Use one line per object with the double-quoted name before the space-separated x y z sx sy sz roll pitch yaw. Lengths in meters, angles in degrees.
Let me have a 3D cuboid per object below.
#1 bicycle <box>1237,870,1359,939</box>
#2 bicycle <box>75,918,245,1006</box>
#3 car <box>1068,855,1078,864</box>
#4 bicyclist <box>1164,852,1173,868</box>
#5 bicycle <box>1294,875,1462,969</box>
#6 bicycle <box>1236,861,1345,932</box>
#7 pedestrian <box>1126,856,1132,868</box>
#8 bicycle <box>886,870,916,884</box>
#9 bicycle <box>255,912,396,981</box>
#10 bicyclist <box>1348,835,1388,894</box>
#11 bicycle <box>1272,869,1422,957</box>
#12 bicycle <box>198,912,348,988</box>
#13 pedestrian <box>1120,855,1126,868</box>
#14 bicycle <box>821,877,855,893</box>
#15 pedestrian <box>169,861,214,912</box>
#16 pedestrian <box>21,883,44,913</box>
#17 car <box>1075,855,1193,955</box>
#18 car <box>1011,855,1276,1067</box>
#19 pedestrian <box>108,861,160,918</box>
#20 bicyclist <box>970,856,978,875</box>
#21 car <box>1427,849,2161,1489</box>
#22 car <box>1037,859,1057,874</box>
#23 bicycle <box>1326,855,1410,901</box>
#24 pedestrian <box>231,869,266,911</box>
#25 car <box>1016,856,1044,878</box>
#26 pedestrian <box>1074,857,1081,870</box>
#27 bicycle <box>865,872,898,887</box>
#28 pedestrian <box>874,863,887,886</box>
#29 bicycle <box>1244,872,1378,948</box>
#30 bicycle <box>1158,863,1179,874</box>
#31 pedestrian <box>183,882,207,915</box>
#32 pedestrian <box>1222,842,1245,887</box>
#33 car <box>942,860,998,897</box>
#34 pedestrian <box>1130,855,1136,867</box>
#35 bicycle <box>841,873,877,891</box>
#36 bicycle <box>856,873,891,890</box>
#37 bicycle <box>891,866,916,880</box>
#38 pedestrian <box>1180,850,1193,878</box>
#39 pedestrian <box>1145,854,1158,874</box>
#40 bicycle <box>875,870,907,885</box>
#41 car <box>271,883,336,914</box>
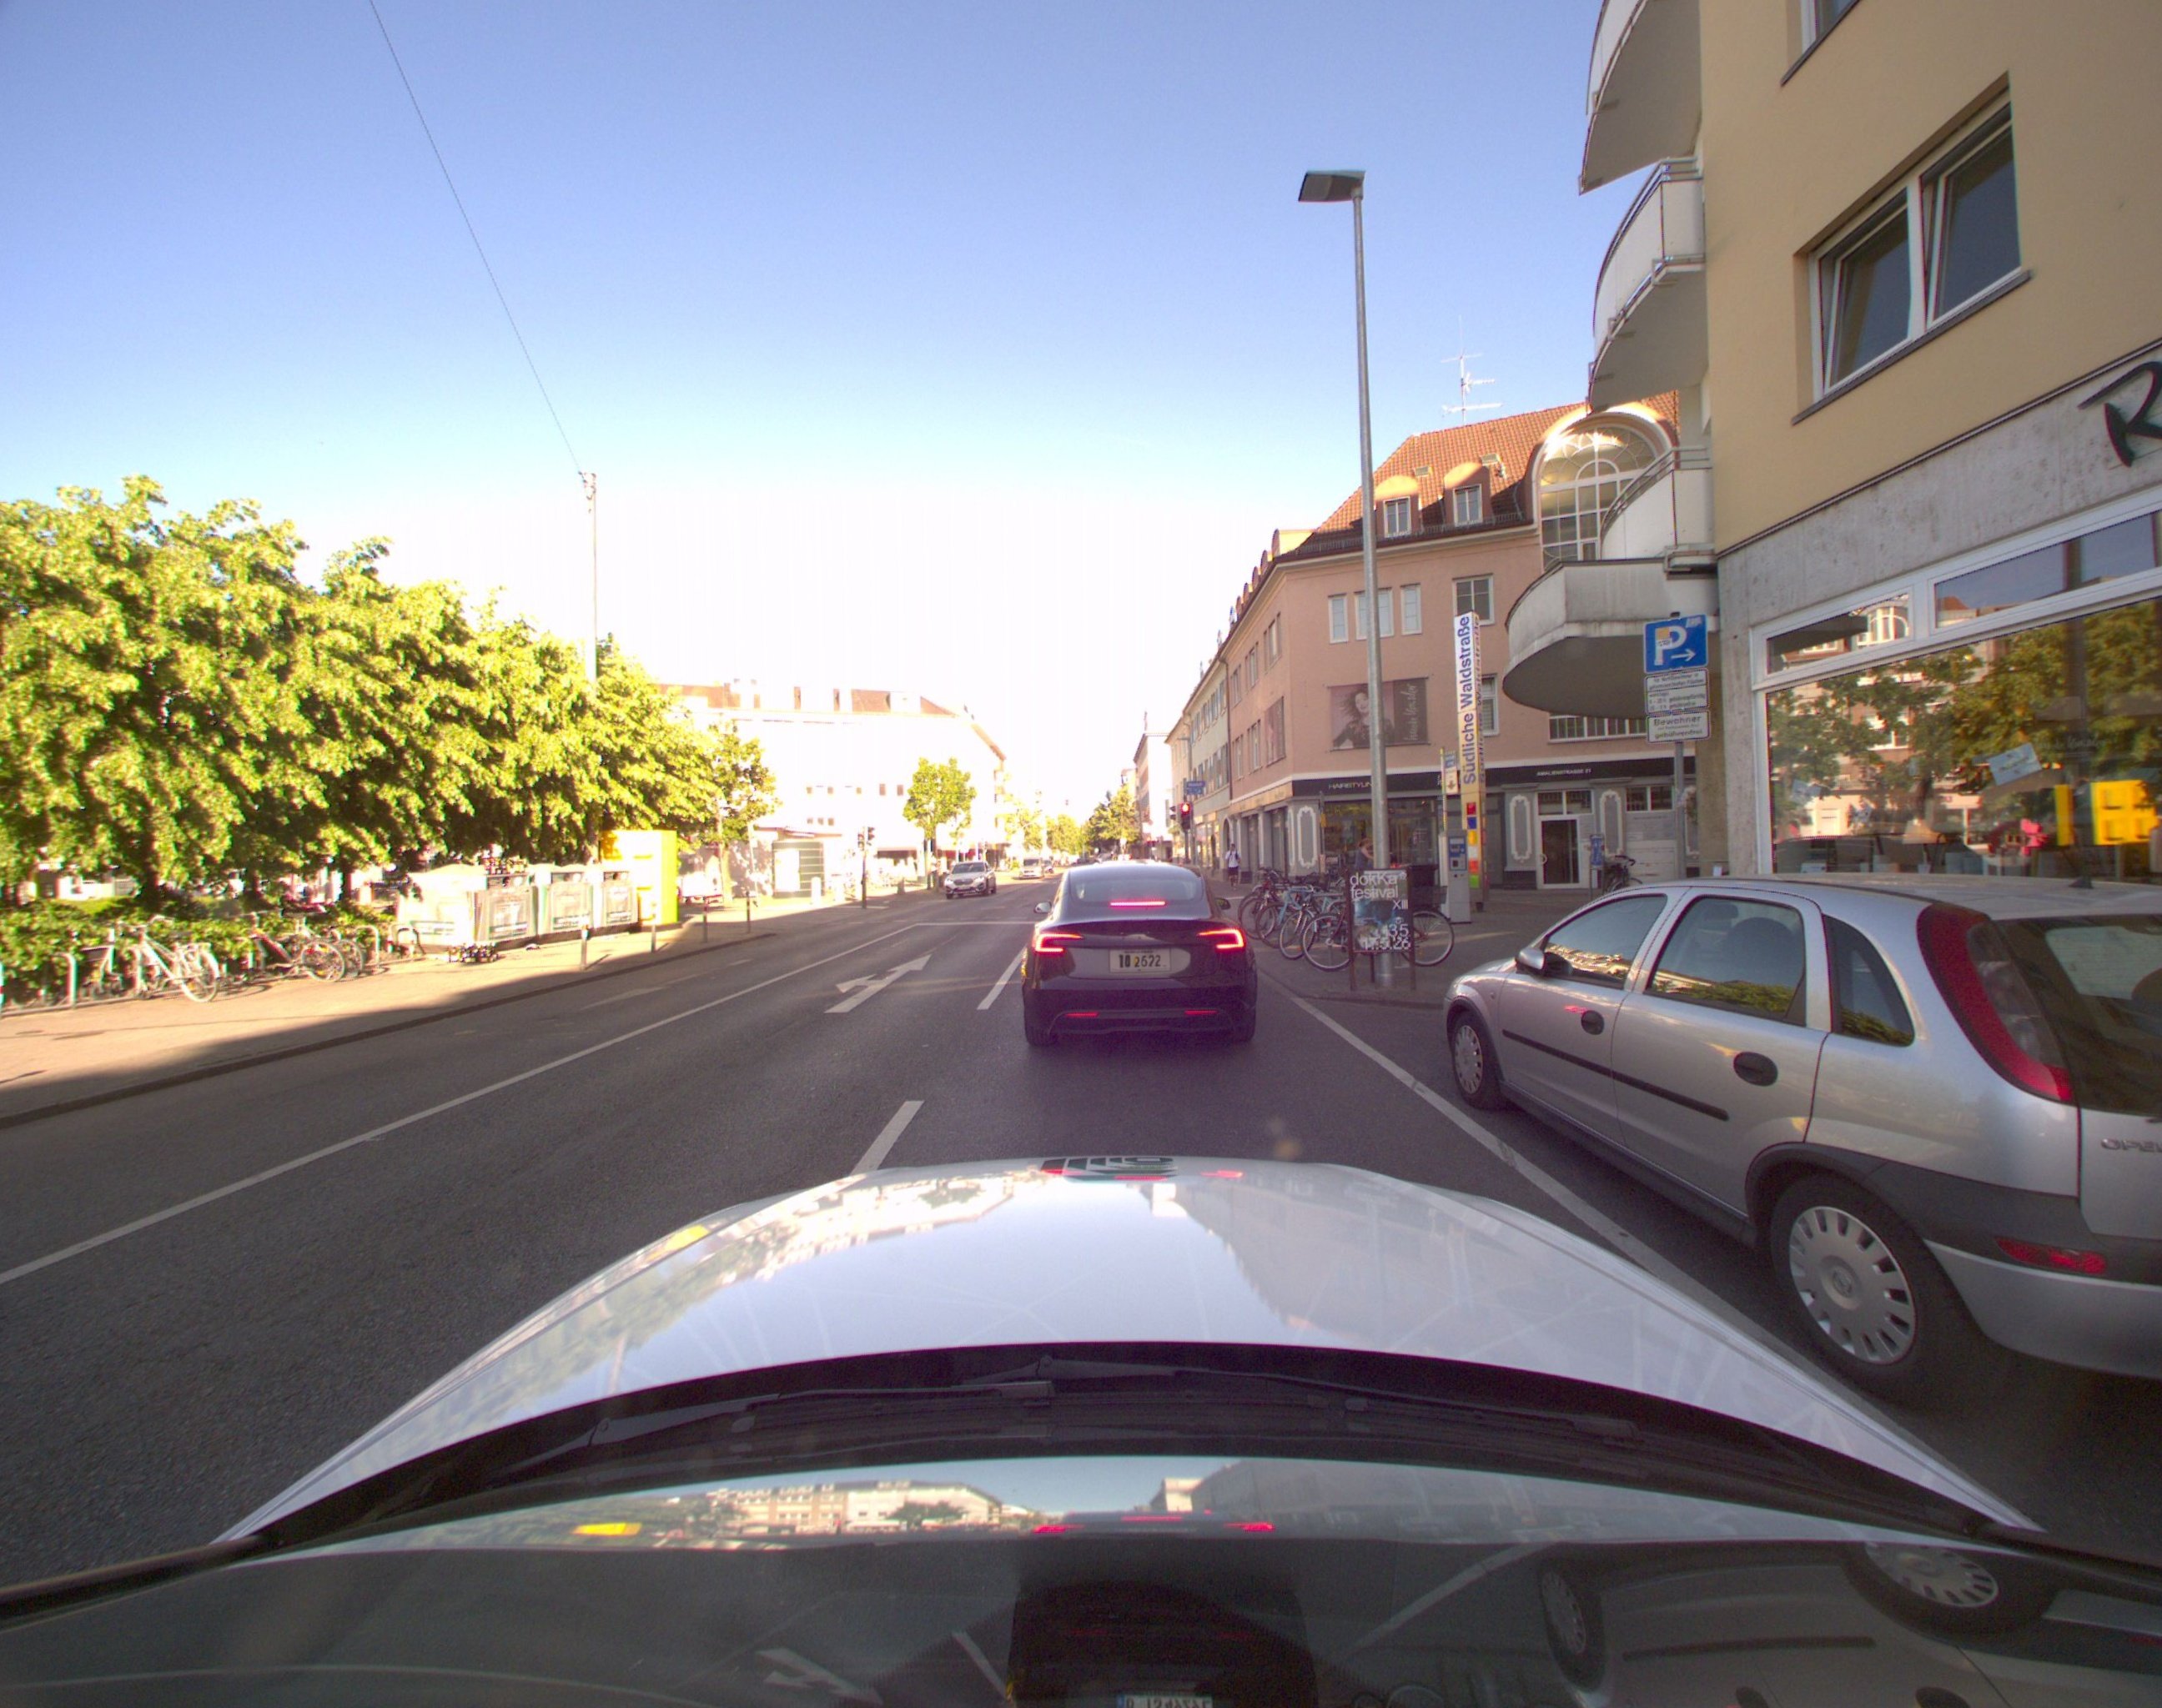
"bicycle" 3.614 0.835 13.673 1.863 1.038 0.548 -3 -1 7
"bicycle" -11.623 1.340 10.283 1.919 1.015 0.518 -1 -1 12
"car" -1.865 1.310 187.360 1.986 2.013 4.001 -1 0 2
"bicyclist" 7.658 0.514 71.344 0.670 1.395 0.460 0 -1 -14
"bicycle" 3.621 0.834 10.021 1.862 1.038 0.354 -3 -1 8
"bicycle" 3.772 0.756 14.754 1.818 1.169 0.507 -3 -1 7
"pedestrian" 5.606 0.969 95.105 0.524 1.422 0.475 0 -1 -28
"bicycle" -12.187 1.547 55.090 1.857 0.934 0.606 -1 0 0
"bicycle" -11.321 1.371 12.207 1.888 0.955 0.518 -1 -1 11
"bicyclist" 7.268 0.266 20.668 0.884 1.482 0.704 -1 -1 14
"bicycle" 3.627 0.804 11.202 1.864 1.087 0.415 -3 -1 5
"bicycle" -11.547 1.350 11.644 1.913 1.003 0.518 -1 -1 11
"pedestrian" 4.967 0.881 95.833 0.474 1.417 0.517 0 -1 -29
"bicycle" -12.838 1.631 43.085 1.640 0.792 0.606 0 -1 -3
"pedestrian" -35.867 1.299 32.857 0.890 2.013 0.893 -1 0 15
"pedestrian" -78.067 3.253 60.639 0.891 2.171 0.882 -1 -1 26
"car" 0.795 0.746 13.871 1.712 1.425 3.757 -1 0 0
"car" 0.496 0.758 7.669 1.815 1.442 4.001 -1 -1 2
"pedestrian" -34.491 1.286 29.668 0.890 2.013 0.893 -1 0 15
"bicyclist" -8.765 0.951 66.455 0.525 1.503 0.473 0 -1 -22
"car" 2.948 0.700 3.518 1.540 1.390 3.479 -1 -1 3
"car" -3.365 1.279 81.695 1.709 1.446 3.846 0 -1 2
"bicycle" 7.245 0.597 20.660 1.920 1.118 0.711 -1 -1 14
"pedestrian" -34.811 1.488 34.048 0.754 1.698 0.793 -1 0 25
"car" -4.003 1.039 64.932 1.780 1.646 4.404 -1 0 2
"pedestrian" -0.478 1.264 108.700 0.719 1.695 0.843 -1 0 -26
"bicycle" -12.300 1.560 50.227 1.857 0.934 0.606 0 -1 0
"pedestrian" -18.178 1.831 73.828 1.060 2.014 1.049 0 -1 -18
"bicycle" 3.491 0.848 12.490 1.864 1.038 0.534 -3 -1 5
"bicycle" 7.627 1.276 71.323 1.787 1.007 0.469 0 -1 -15
"pedestrian" -48.861 2.443 44.899 0.842 1.717 0.761 -2 -1 35
"pedestrian" 6.140 0.431 32.834 0.747 1.765 0.838 -2 -1 6
"car" -4.904 1.046 36.437 1.782 1.460 3.759 -4 -1 2
"pedestrian" 6.095 0.825 95.899 0.524 1.422 0.475 0 -1 -28
"bicycle" -12.427 1.571 45.659 1.857 0.934 0.606 -1 0 0
"bicycle" -12.175 1.613 47.748 1.857 0.934 0.606 0 -1 0
"bicycle" -17.117 1.816 78.553 2.373 1.296 0.509 0 -1 -25
"pedestrian" 6.588 0.622 50.897 0.704 1.742 0.540 -1 0 1
"pedestrian" 6.009 0.864 69.310 0.756 1.631 0.951 0 -1 -16
"bicycle" -12.266 1.528 52.642 1.857 0.934 0.606 -1 0 0
"car" -38.641 2.192 40.441 3.526 1.386 1.703 -1 0 36
